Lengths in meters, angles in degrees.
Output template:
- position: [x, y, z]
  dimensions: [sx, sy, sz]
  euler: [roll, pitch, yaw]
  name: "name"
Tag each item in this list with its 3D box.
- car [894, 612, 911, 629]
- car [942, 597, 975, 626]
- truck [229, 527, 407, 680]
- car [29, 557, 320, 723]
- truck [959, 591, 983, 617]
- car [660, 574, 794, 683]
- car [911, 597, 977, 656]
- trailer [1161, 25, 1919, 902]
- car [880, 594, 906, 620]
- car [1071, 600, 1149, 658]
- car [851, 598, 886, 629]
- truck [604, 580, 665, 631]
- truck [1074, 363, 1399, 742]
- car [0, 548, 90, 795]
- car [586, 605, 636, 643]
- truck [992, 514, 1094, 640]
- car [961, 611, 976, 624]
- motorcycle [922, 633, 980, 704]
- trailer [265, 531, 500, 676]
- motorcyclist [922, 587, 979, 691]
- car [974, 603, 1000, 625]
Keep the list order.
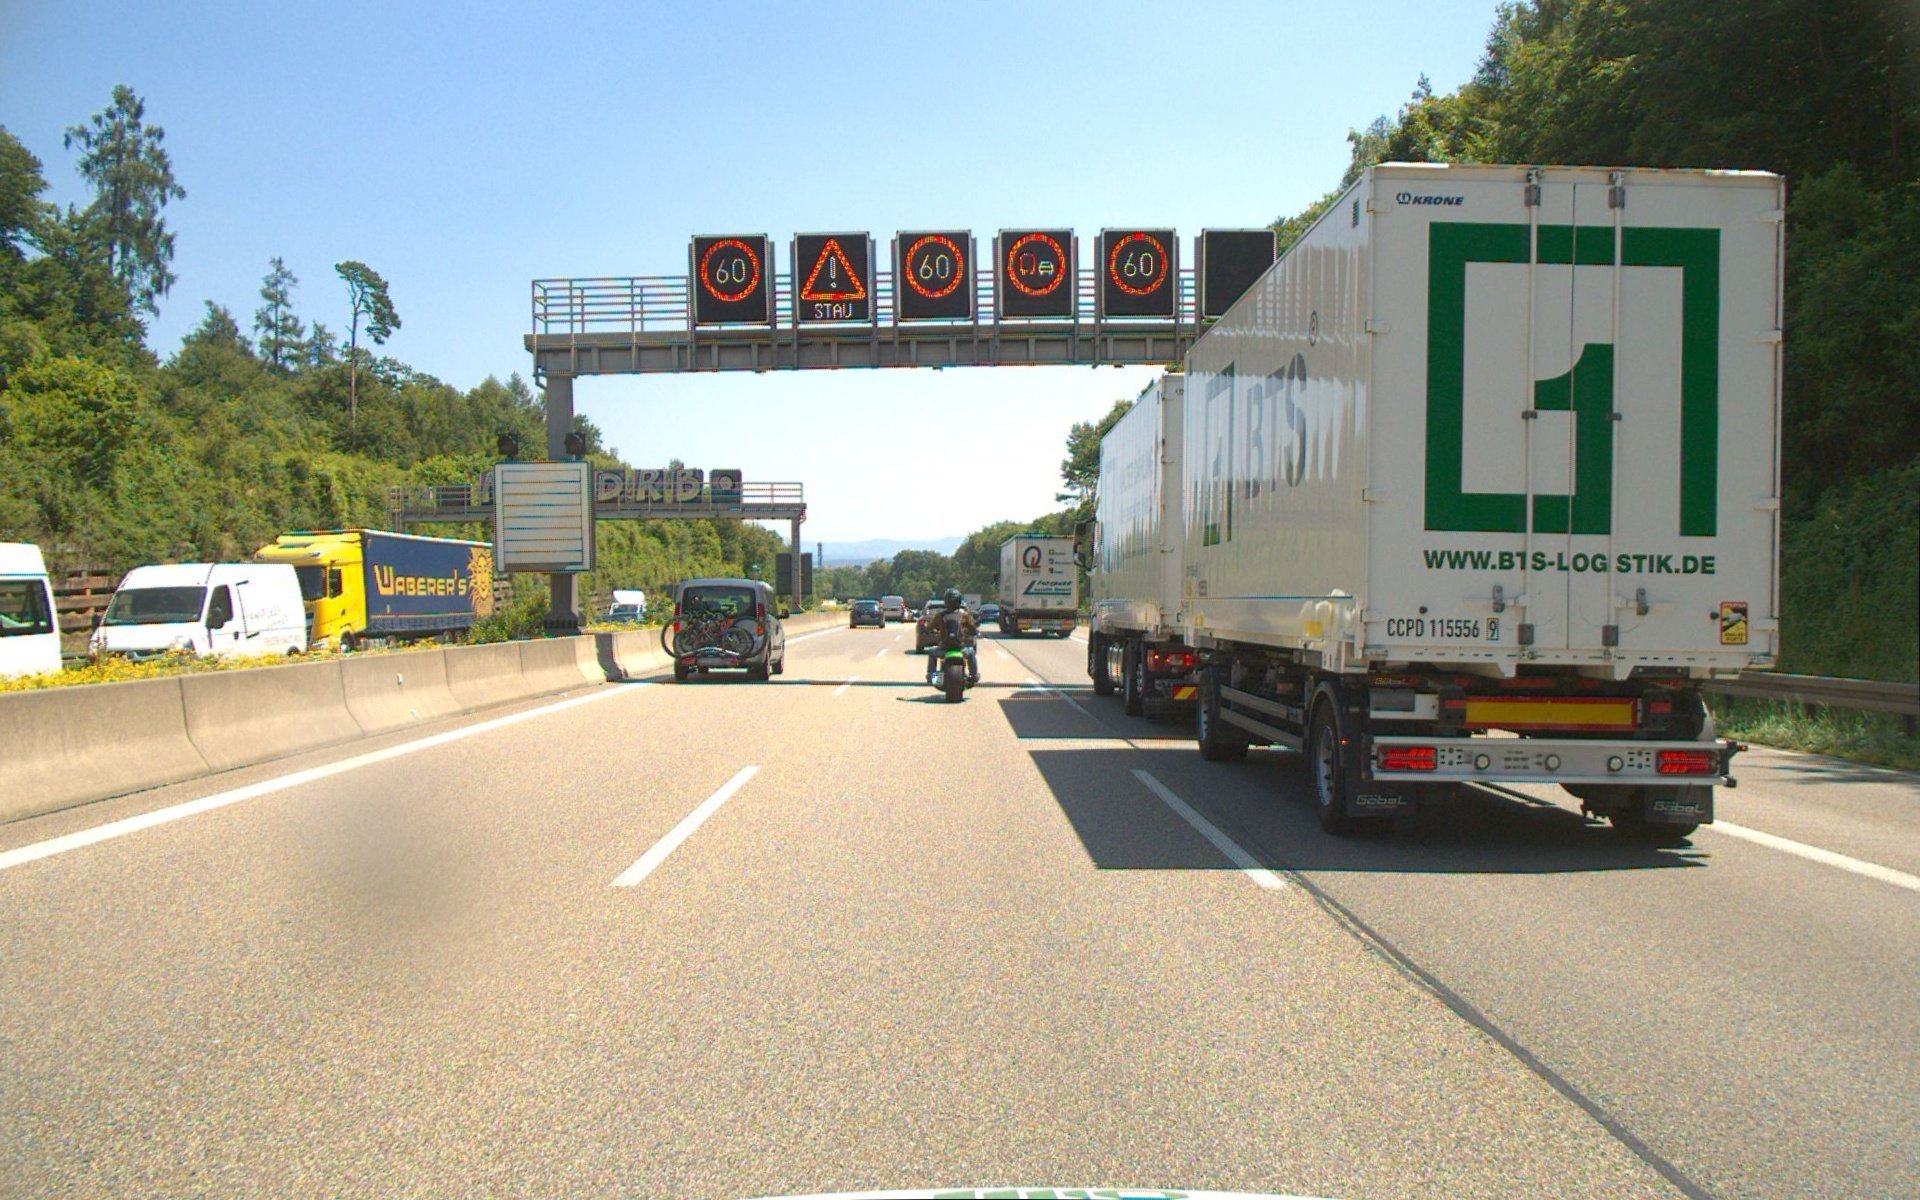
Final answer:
- position: [-6.273, 2.247, 181.864]
  dimensions: [1.794, 1.842, 4.119]
  euler: [1, 0, -1]
  name: "car"
- position: [-0.093, 0.653, 95.243]
  dimensions: [1.794, 1.586, 4.119]
  euler: [1, 0, -1]
  name: "car"
- position: [-19.515, 0.094, 50.728]
  dimensions: [2.891, 4.275, 6.456]
  euler: [-2, 0, -1]
  name: "truck"
- position: [-14.323, 0.656, 30.685]
  dimensions: [2.698, 2.720, 5.683]
  euler: [-1, 0, -1]
  name: "car"
- position: [1.458, 0.586, 229.200]
  dimensions: [3.005, 3.405, 9.650]
  euler: [2, 0, -1]
  name: "truck"
- position: [-4.337, 0.515, 31.562]
  dimensions: [1.859, 1.880, 5.481]
  euler: [1, 0, -1]
  name: "car"
- position: [-0.471, 0.721, 48.034]
  dimensions: [1.808, 1.584, 4.438]
  euler: [1, 0, -1]
  name: "car"
- position: [3.613, -0.661, 13.097]
  dimensions: [2.625, 4.249, 10.063]
  euler: [1, 0, -1]
  name: "trailer"
- position: [-4.862, 0.499, 119.938]
  dimensions: [1.794, 1.842, 4.119]
  euler: [1, 0, -1]
  name: "car"
- position: [4.335, 0.806, 48.457]
  dimensions: [1.808, 1.584, 4.391]
  euler: [1, 0, -1]
  name: "car"
- position: [-4.852, 0.686, 88.205]
  dimensions: [1.722, 1.571, 4.394]
  euler: [1, 0, -1]
  name: "car"
- position: [-20.667, 0.319, 105.282]
  dimensions: [2.527, 3.045, 7.061]
  euler: [-1, 0, -1]
  name: "truck"
- position: [3.409, -0.519, 23.462]
  dimensions: [2.625, 4.130, 10.623]
  euler: [1, 0, -1]
  name: "truck"
- position: [-11.574, 0.815, 17.719]
  dimensions: [1.958, 2.720, 4.845]
  euler: [-1, 0, -1]
  name: "car"
- position: [-15.310, 1.028, 72.731]
  dimensions: [1.485, 1.562, 3.549]
  euler: [-1, 0, -1]
  name: "car"
- position: [3.395, -0.890, 73.305]
  dimensions: [3.314, 4.800, 17.705]
  euler: [2, 0, -1]
  name: "truck"
- position: [1.052, 2.177, 205.606]
  dimensions: [1.794, 1.553, 4.026]
  euler: [1, 0, -1]
  name: "car"
- position: [-0.129, 1.018, 25.194]
  dimensions: [0.844, 0.999, 2.130]
  euler: [0, -1, 0]
  name: "motorcycle"
- position: [-19.502, 0.089, 57.361]
  dimensions: [2.917, 4.280, 14.464]
  euler: [-2, 0, 0]
  name: "trailer"
- position: [-0.138, 0.587, 25.038]
  dimensions: [0.838, 1.541, 0.914]
  euler: [0, -1, 0]
  name: "motorcyclist"
- position: [1.991, 1.006, 123.287]
  dimensions: [1.794, 1.553, 4.026]
  euler: [1, 0, -1]
  name: "car"
